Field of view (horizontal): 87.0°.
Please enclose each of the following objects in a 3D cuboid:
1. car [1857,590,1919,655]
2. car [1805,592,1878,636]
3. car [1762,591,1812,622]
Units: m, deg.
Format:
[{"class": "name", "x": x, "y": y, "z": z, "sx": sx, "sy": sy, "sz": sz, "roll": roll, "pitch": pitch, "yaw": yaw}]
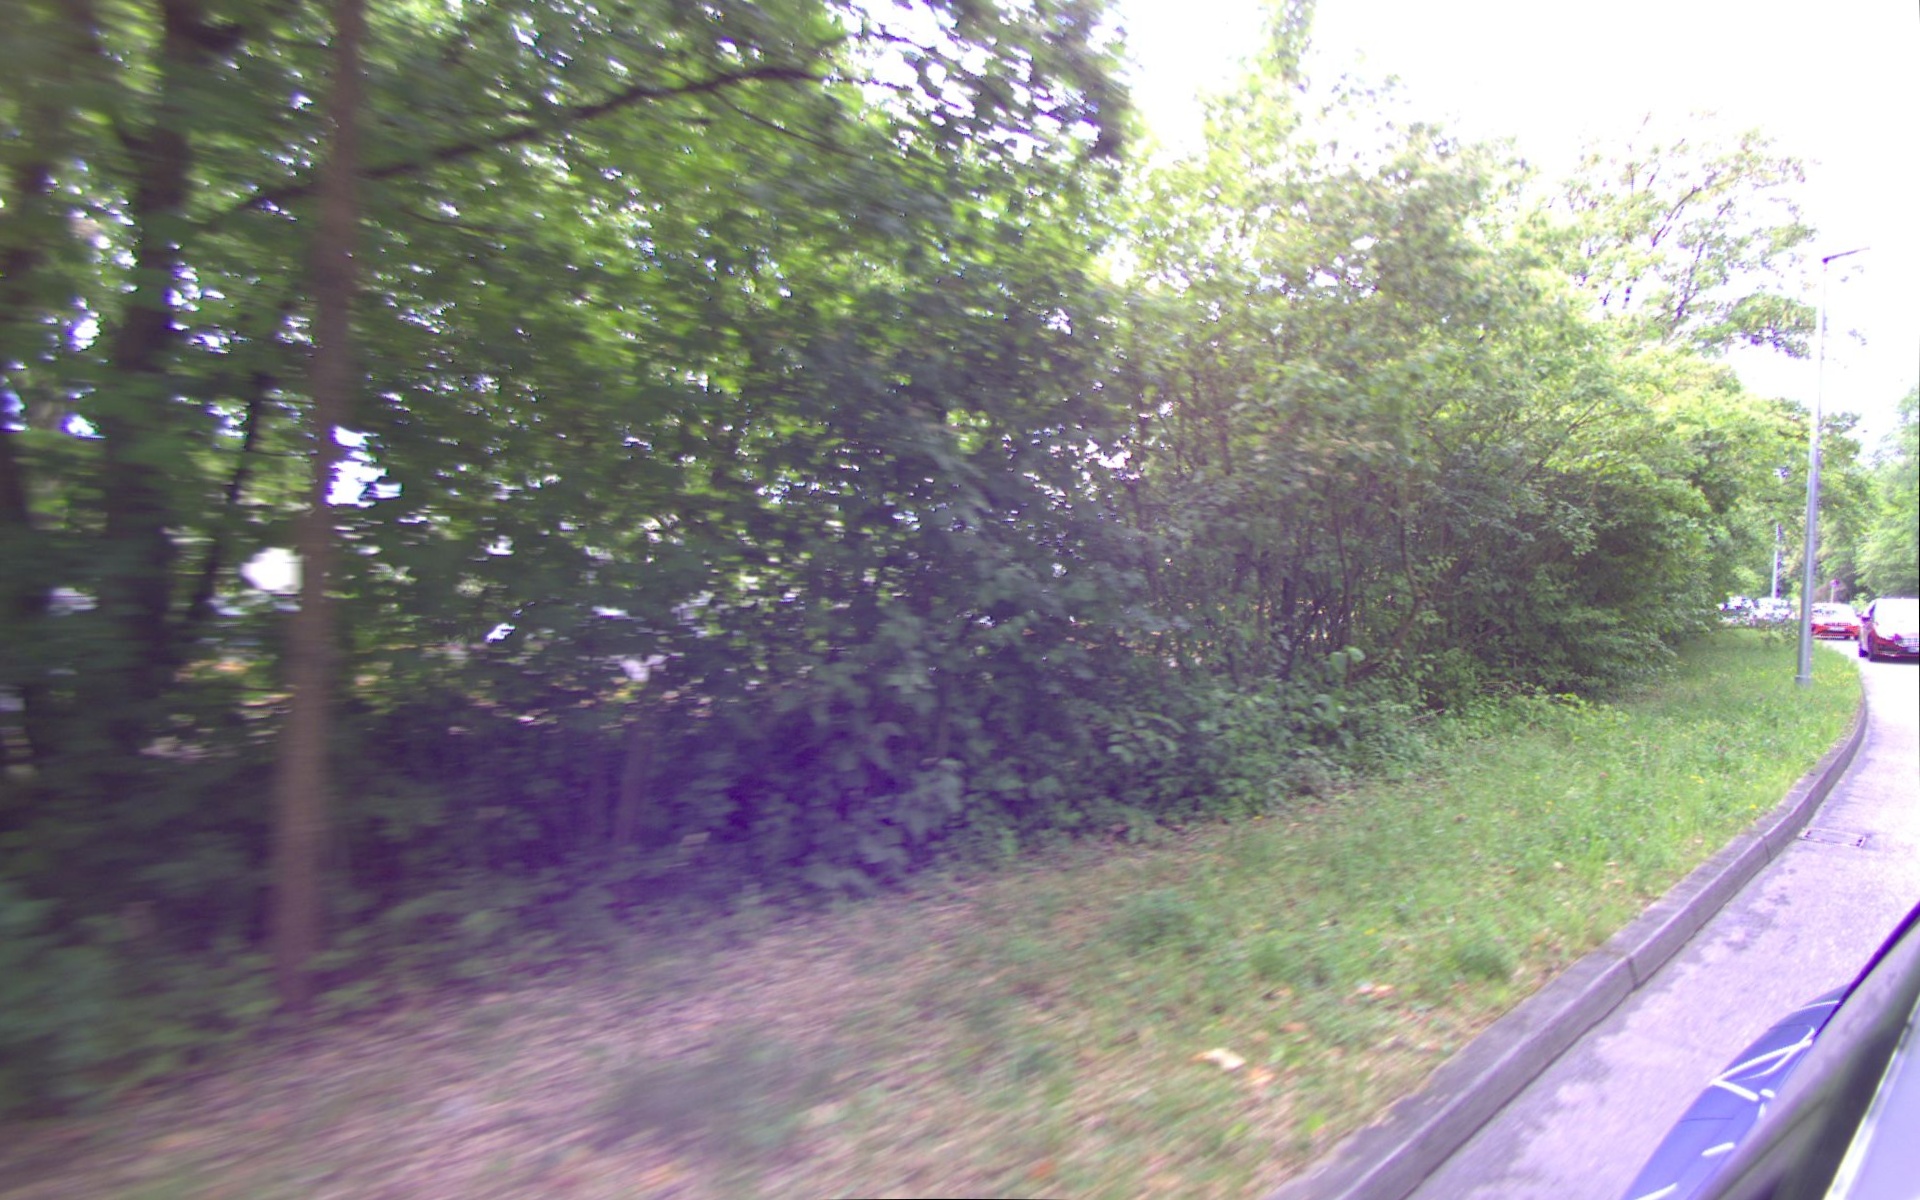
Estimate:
[{"class": "car", "x": 25.517, "y": 0.571, "z": 26.937, "sx": 1.850, "sy": 1.638, "sz": 4.421, "roll": 1, "pitch": 0, "yaw": 34}, {"class": "car", "x": 36.128, "y": 0.549, "z": 41.569, "sx": 1.991, "sy": 1.593, "sz": 3.944, "roll": 4, "pitch": 2, "yaw": 39}, {"class": "car", "x": 46.653, "y": 0.360, "z": 57.146, "sx": 1.911, "sy": 1.616, "sz": 3.847, "roll": 4, "pitch": 2, "yaw": 36}]
